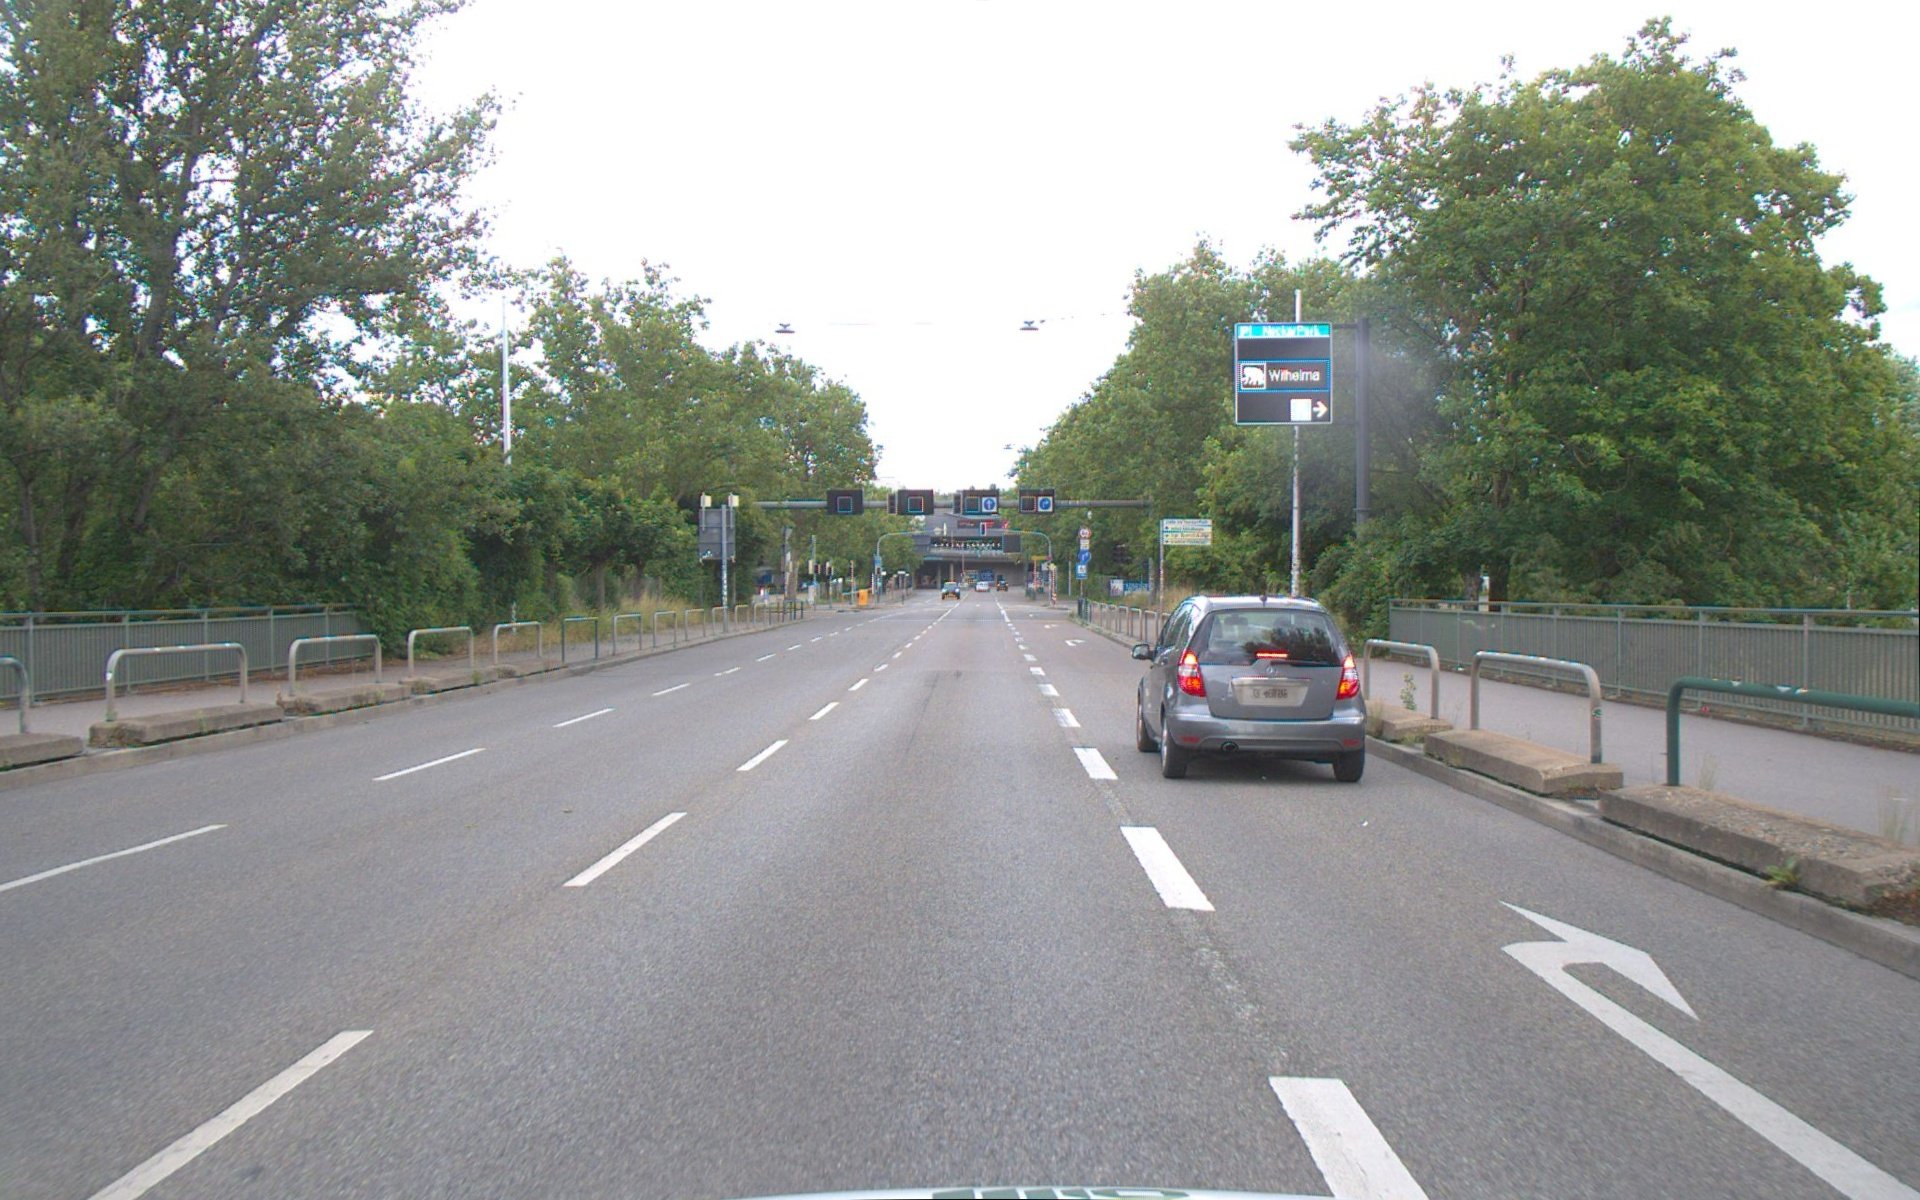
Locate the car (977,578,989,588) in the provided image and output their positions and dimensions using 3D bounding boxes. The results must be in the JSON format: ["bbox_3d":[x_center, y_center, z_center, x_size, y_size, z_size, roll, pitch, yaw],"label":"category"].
[{"bbox_3d":[3.642,-2.655,259.779,1.741,1.485,3.823,2,1,2],"label":"car"}]

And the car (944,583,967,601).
[{"bbox_3d":[-0.453,-0.797,165.361,1.952,1.689,4.519,-1,1,4],"label":"car"}]

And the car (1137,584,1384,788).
[{"bbox_3d":[2.650,0.685,15.436,1.788,1.644,4.036,0,0,3],"label":"car"}]
